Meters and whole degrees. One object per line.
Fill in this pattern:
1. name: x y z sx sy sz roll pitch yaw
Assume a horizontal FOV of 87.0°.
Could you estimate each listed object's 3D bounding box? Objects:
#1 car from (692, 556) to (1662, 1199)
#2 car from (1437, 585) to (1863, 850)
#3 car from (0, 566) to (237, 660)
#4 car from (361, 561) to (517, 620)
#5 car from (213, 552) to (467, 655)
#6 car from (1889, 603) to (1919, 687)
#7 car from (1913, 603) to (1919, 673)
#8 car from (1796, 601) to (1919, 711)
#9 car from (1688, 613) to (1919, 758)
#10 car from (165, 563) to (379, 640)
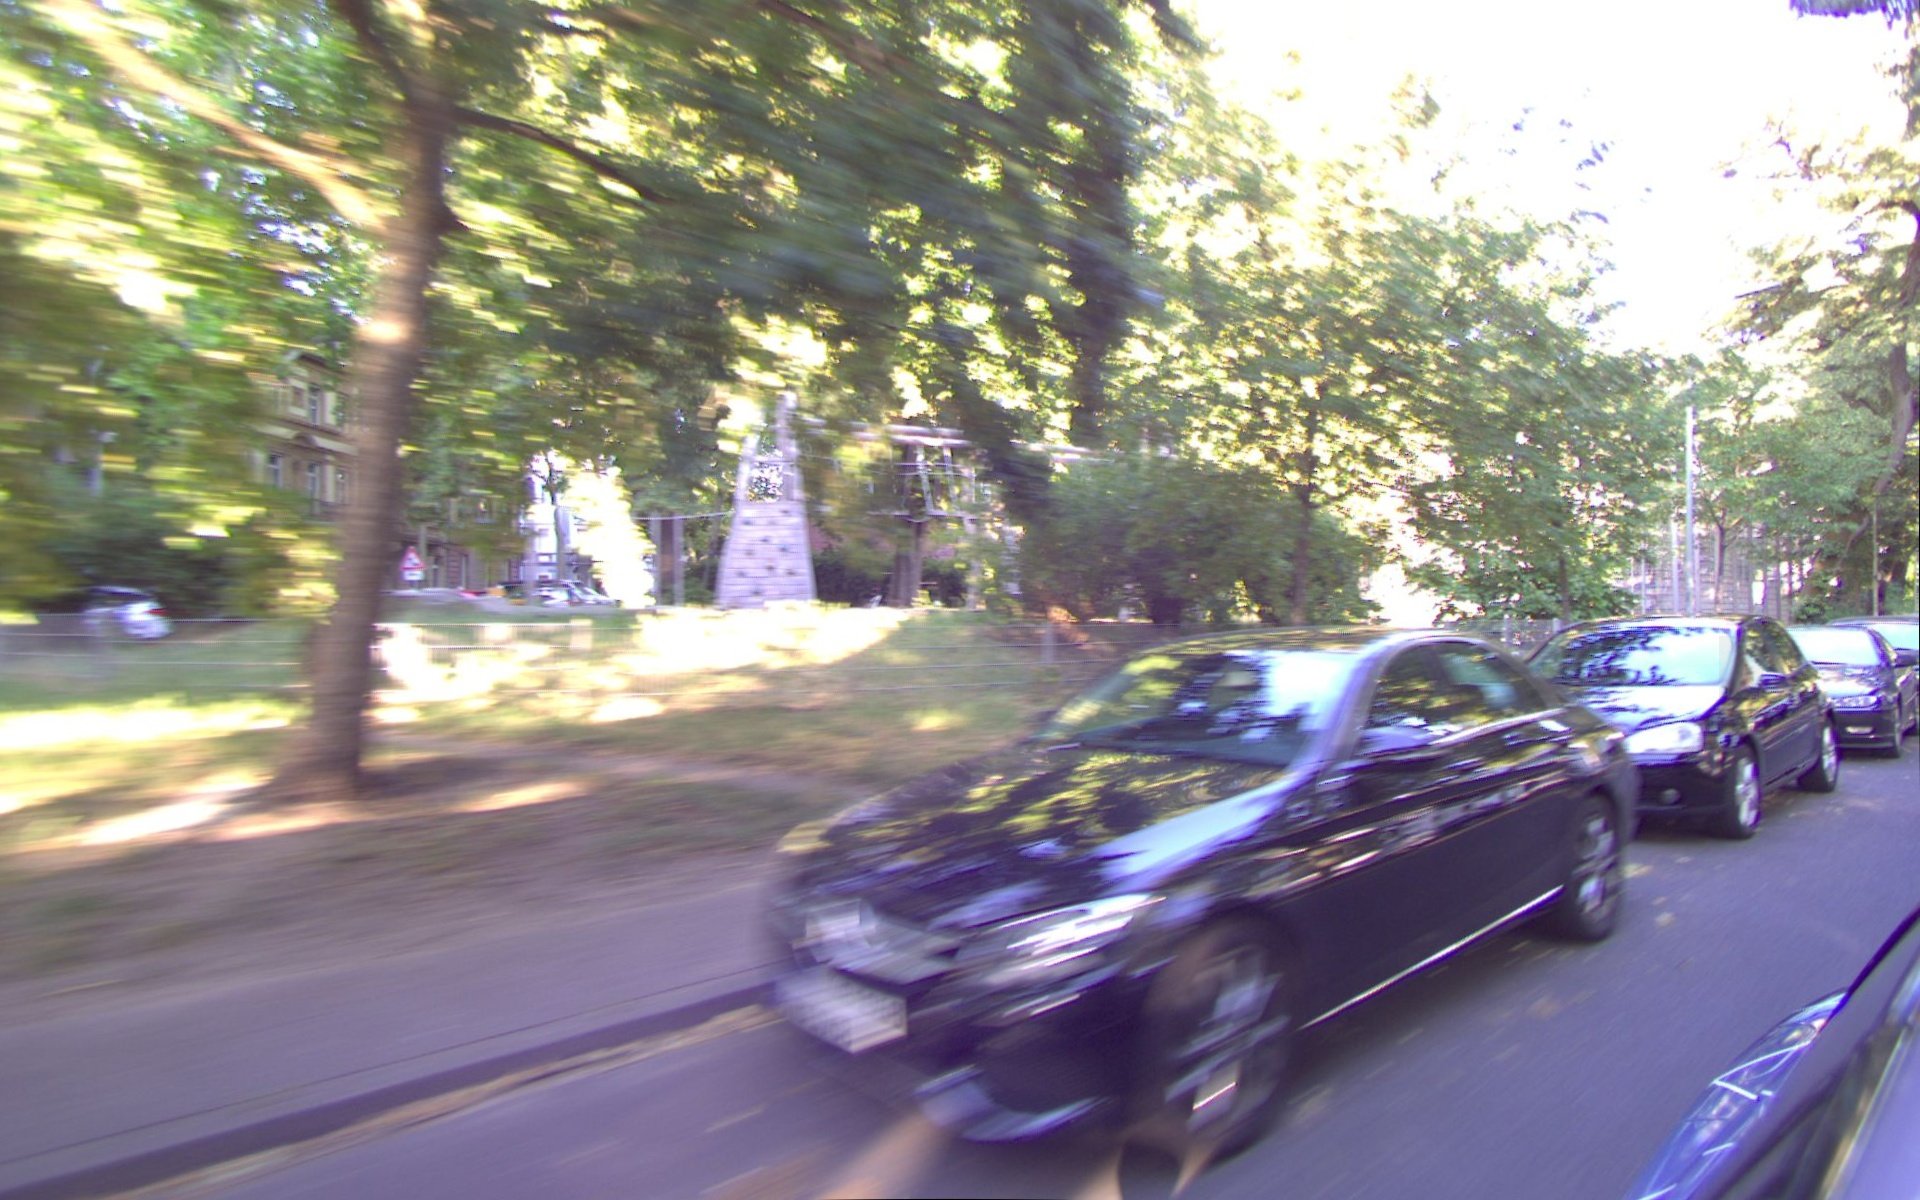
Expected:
1. car: 1.286 0.691 4.287 4.410 1.545 1.683 0 -1 -40
2. car: 5.548 0.699 7.922 4.211 1.545 1.683 0 -1 -40
3. car: -16.628 0.282 19.441 4.324 1.511 1.783 -4 -1 5
4. car: -16.440 -0.290 32.082 3.925 1.805 2.000 0 0 1
5. car: -16.645 0.088 27.392 5.405 2.487 2.371 -2 0 1
6. car: 18.456 0.791 18.771 1.680 1.472 4.010 -1 -1 44
7. car: 22.124 0.788 22.008 4.005 1.472 1.683 0 -1 -42
8. car: 14.082 0.750 15.131 4.577 1.442 1.683 0 -1 -41
9. car: 9.715 0.810 11.346 4.214 1.299 1.682 0 -1 -42
10. car: -16.706 0.027 24.726 3.925 1.805 2.000 0 0 1
